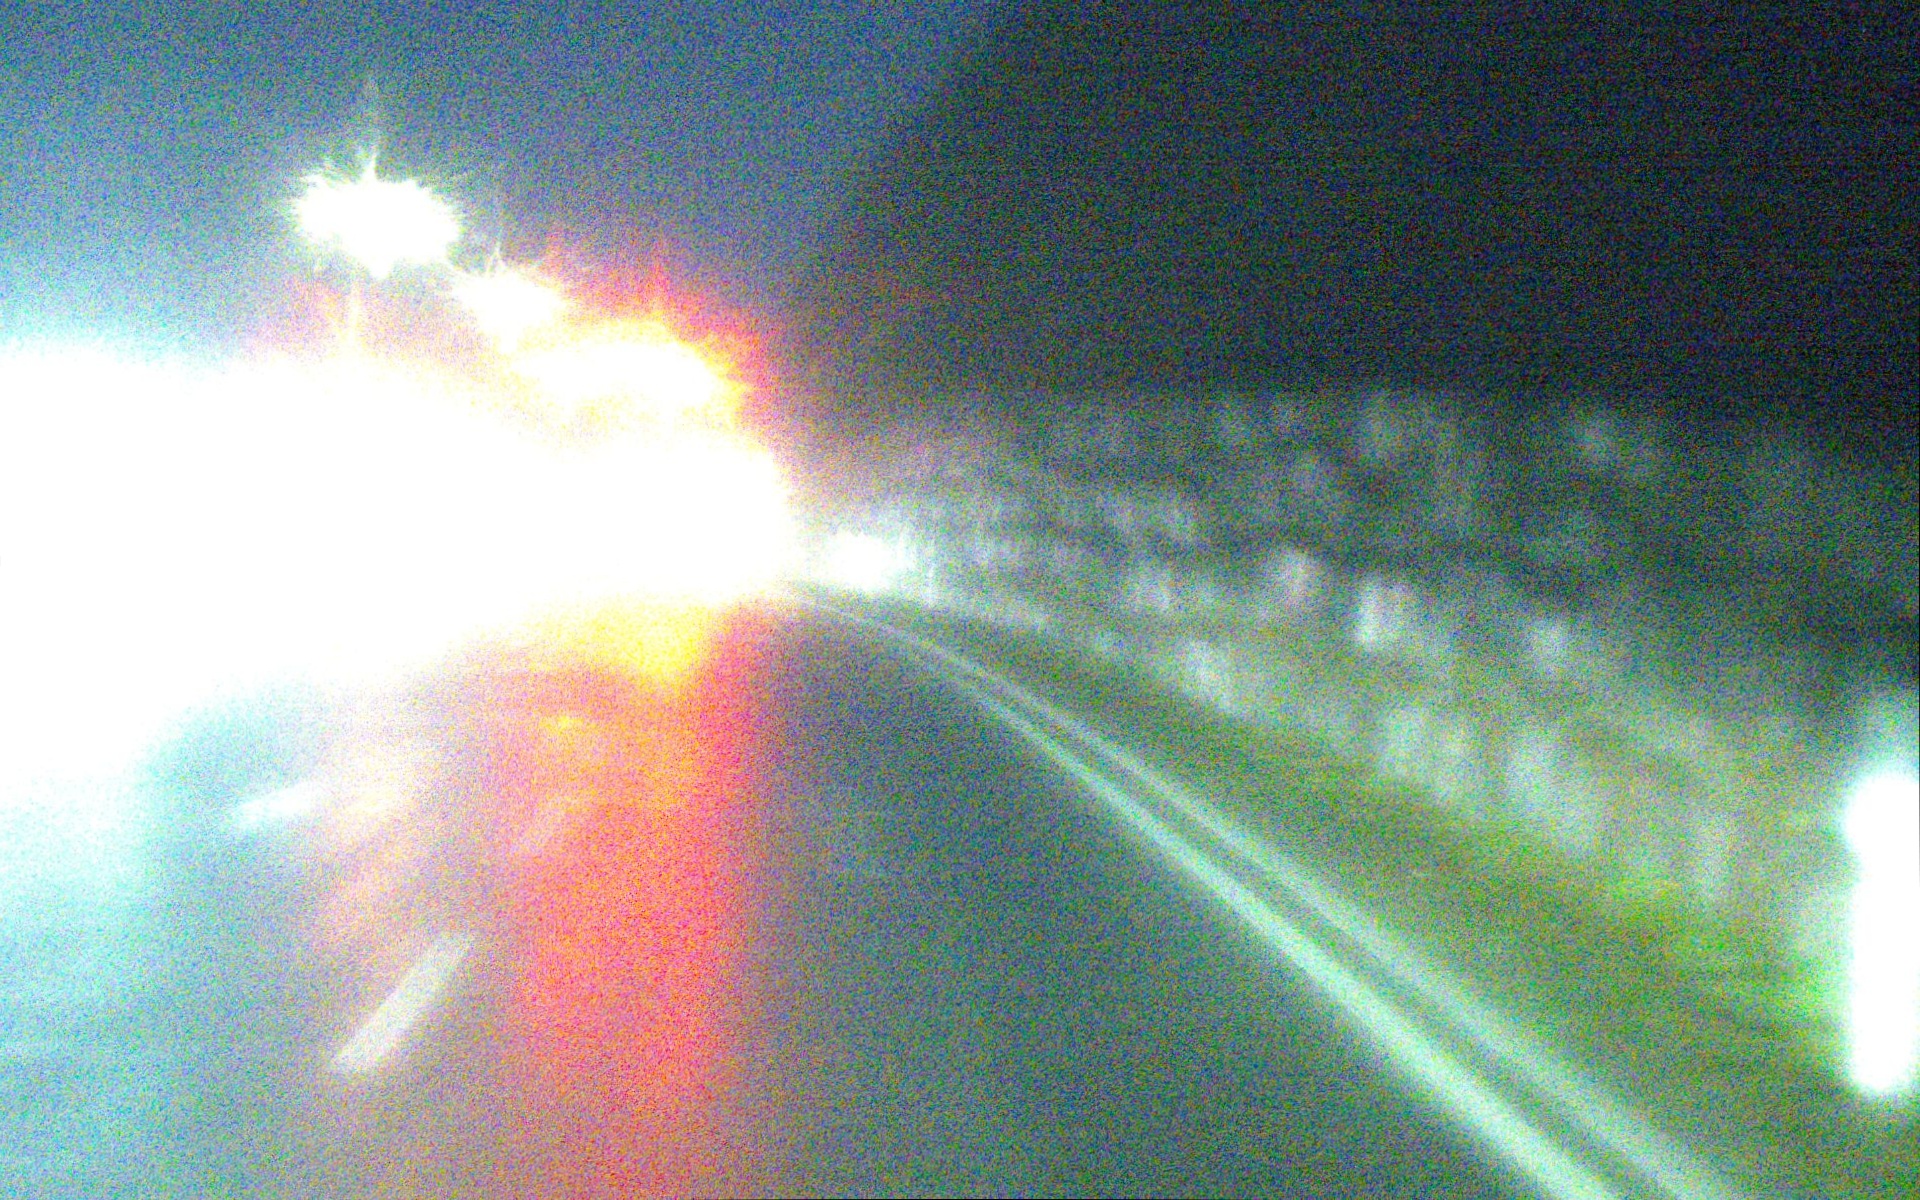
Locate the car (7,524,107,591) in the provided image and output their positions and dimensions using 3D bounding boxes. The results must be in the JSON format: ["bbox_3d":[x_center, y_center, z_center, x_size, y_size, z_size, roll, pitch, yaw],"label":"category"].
[{"bbox_3d":[-20.879,-0.988,79.588,1.790,1.436,3.857,-3,1,-9],"label":"car"}]

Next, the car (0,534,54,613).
[{"bbox_3d":[-18.278,-0.532,65.013,1.832,1.437,4.492,1,1,-10],"label":"car"}]
